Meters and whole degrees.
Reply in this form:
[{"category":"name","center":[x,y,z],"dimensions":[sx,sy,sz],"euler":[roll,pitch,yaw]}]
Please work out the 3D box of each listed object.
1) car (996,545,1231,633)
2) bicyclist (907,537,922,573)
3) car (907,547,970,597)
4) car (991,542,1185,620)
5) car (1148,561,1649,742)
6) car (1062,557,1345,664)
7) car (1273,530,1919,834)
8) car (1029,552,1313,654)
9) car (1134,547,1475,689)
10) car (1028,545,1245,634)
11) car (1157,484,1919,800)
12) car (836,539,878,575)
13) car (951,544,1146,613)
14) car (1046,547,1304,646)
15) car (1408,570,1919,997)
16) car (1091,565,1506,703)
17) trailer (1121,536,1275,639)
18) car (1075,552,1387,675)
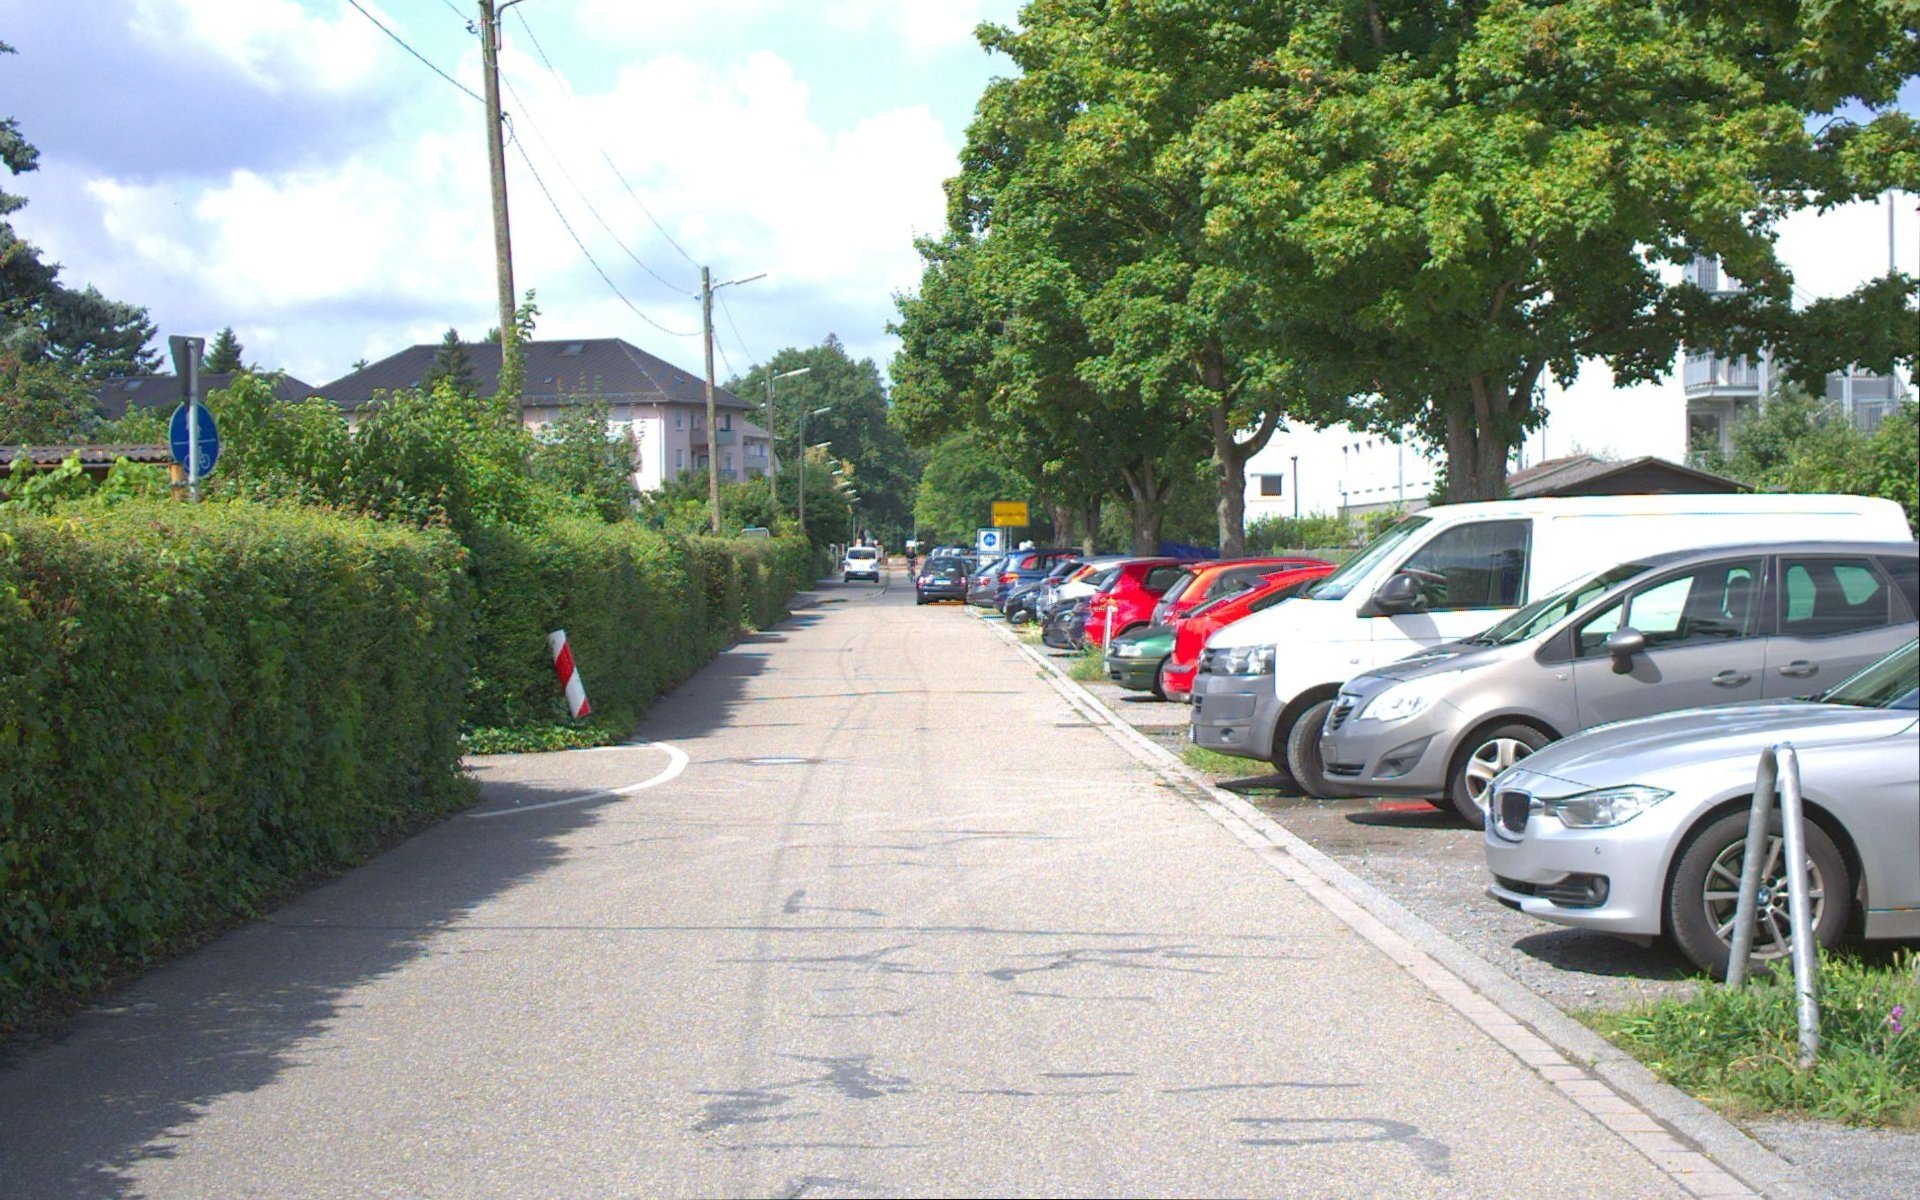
[{"category":"car","center":[2.884,-0.211,65.161],"dimensions":[4.302,1.588,2.000],"euler":[1,0,-1]},{"category":"bicyclist","center":[-2.389,-2.361,181.004],"dimensions":[0.659,1.846,1.043],"euler":[-2,0,1]},{"category":"car","center":[-0.643,-0.873,107.172],"dimensions":[1.663,1.501,3.999],"euler":[1,0,4]},{"category":"car","center":[2.799,-0.424,75.754],"dimensions":[4.154,1.632,1.879],"euler":[-1,0,-1]},{"category":"car","center":[3.818,0.435,30.470],"dimensions":[4.183,1.499,1.878],"euler":[1,0,0]},{"category":"car","center":[3.412,0.139,48.728],"dimensions":[3.910,1.419,1.958],"euler":[1,0,2]},{"category":"car","center":[4.069,0.431,20.076],"dimensions":[4.243,1.587,2.000],"euler":[-1,1,0]},{"category":"car","center":[3.146,0.039,51.893],"dimensions":[4.065,1.450,1.870],"euler":[1,0,-3]},{"category":"car","center":[4.002,0.199,40.418],"dimensions":[3.764,1.568,1.870],"euler":[1,0,-1]},{"category":"car","center":[3.187,-0.192,62.581],"dimensions":[3.723,1.535,1.850],"euler":[1,0,-4]},{"category":"car","center":[3.742,0.243,22.816],"dimensions":[4.634,1.880,2.112],"euler":[-1,1,-2]},{"category":"car","center":[-5.255,-2.195,175.706],"dimensions":[1.903,1.808,4.000],"euler":[1,0,2]},{"category":"car","center":[2.088,-0.515,82.387],"dimensions":[4.548,1.573,1.809],"euler":[1,0,-2]},{"category":"car","center":[3.436,-0.065,55.501],"dimensions":[4.065,1.506,1.958],"euler":[1,0,2]},{"category":"car","center":[4.173,0.626,13.121],"dimensions":[4.577,1.461,2.000],"euler":[0,1,-4]},{"category":"car","center":[3.665,0.359,37.691],"dimensions":[4.238,1.423,1.909],"euler":[1,0,-5]},{"category":"trailer","center":[4.120,-0.232,59.702],"dimensions":[2.449,1.714,1.518],"euler":[1,1,-4]},{"category":"car","center":[3.534,0.165,45.215],"dimensions":[3.987,1.514,1.854],"euler":[1,0,3]}]
